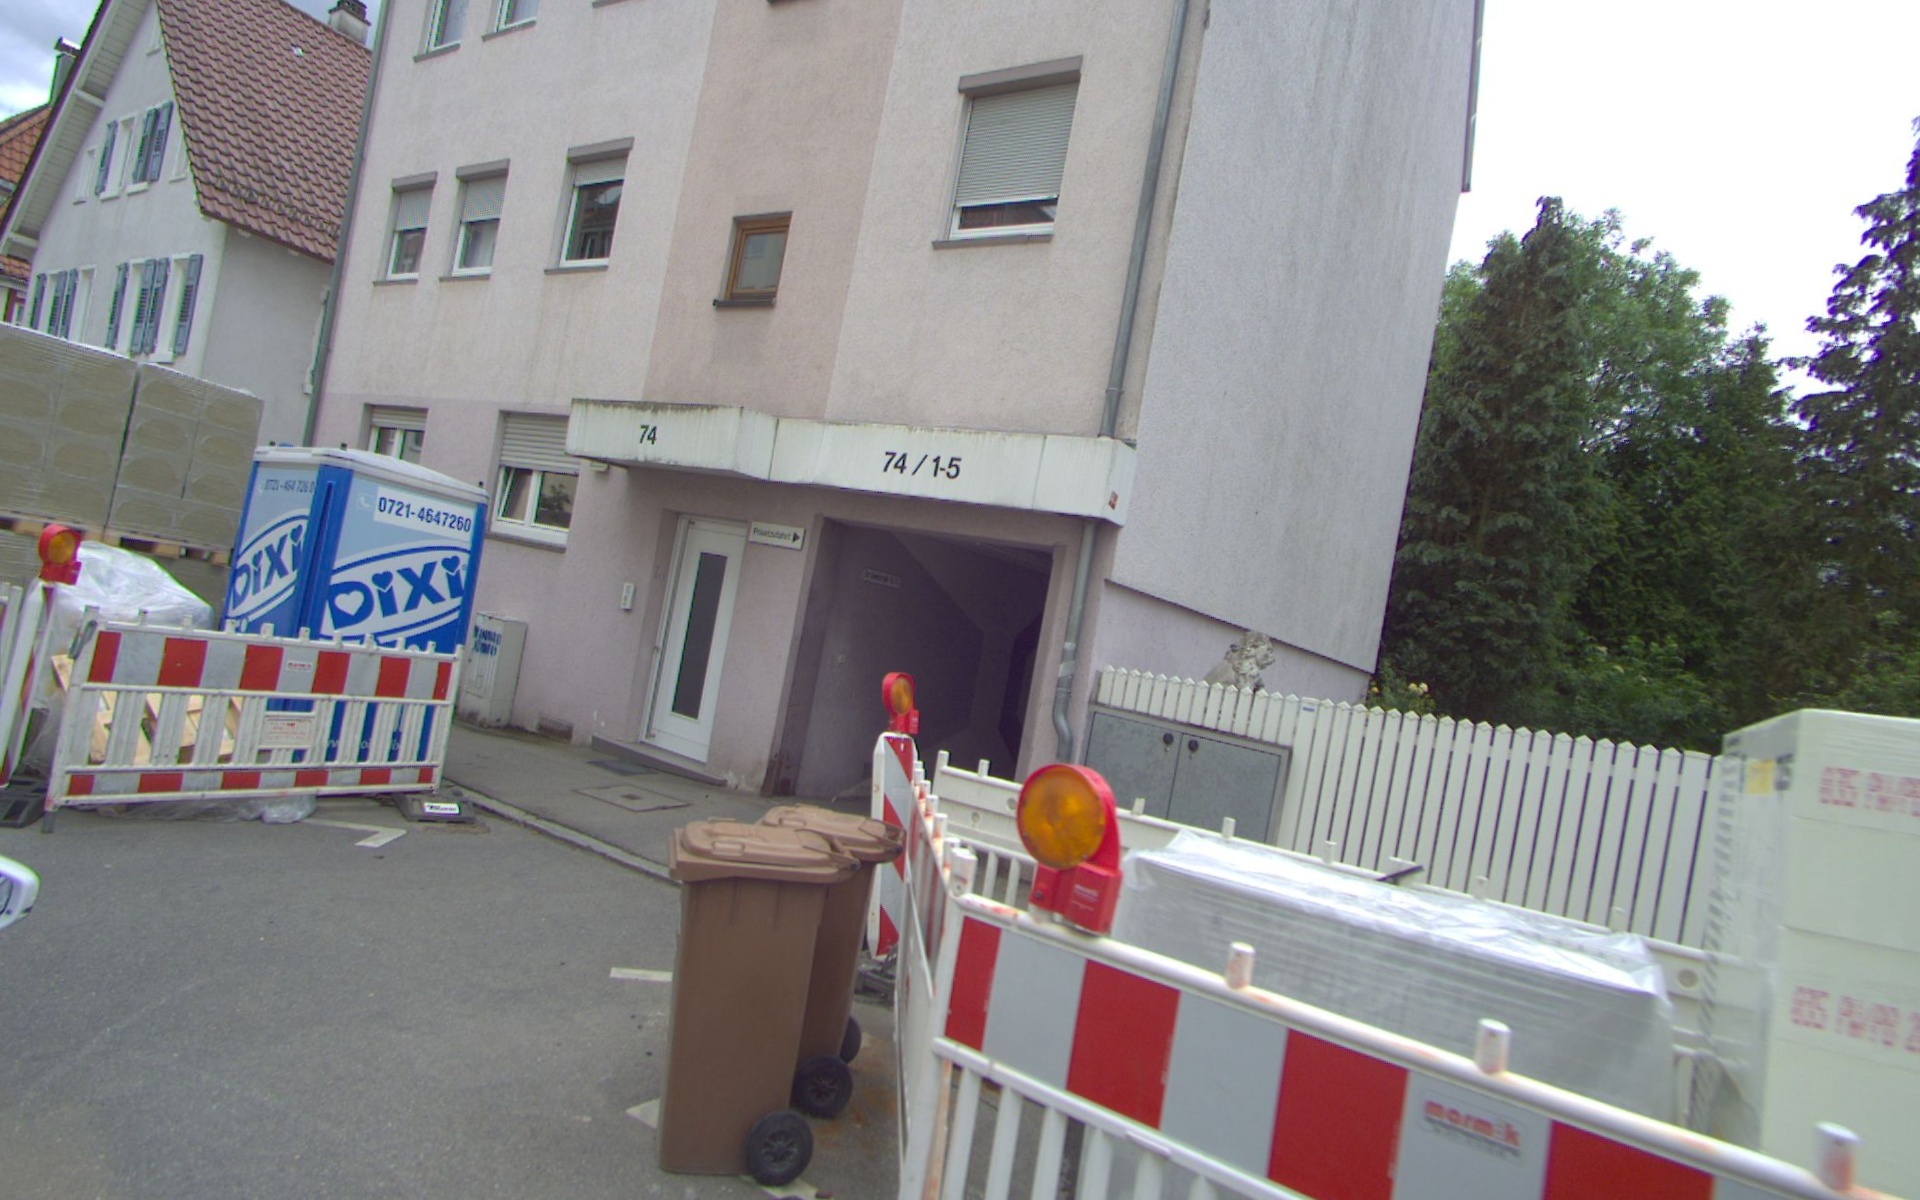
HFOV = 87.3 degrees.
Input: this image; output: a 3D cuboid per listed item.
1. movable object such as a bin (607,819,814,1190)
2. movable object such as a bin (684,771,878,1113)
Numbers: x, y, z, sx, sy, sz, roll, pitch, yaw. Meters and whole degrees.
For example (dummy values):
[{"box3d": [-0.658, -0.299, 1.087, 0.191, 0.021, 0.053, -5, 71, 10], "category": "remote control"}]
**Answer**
[{"box3d": [-0.721, 1.134, 2.880, 0.395, 0.902, 0.362, 11, -3, -19], "category": "movable object such as a bin"}, {"box3d": [-0.606, 1.152, 3.507, 0.393, 0.989, 0.450, 10, 1, 9], "category": "movable object such as a bin"}]
